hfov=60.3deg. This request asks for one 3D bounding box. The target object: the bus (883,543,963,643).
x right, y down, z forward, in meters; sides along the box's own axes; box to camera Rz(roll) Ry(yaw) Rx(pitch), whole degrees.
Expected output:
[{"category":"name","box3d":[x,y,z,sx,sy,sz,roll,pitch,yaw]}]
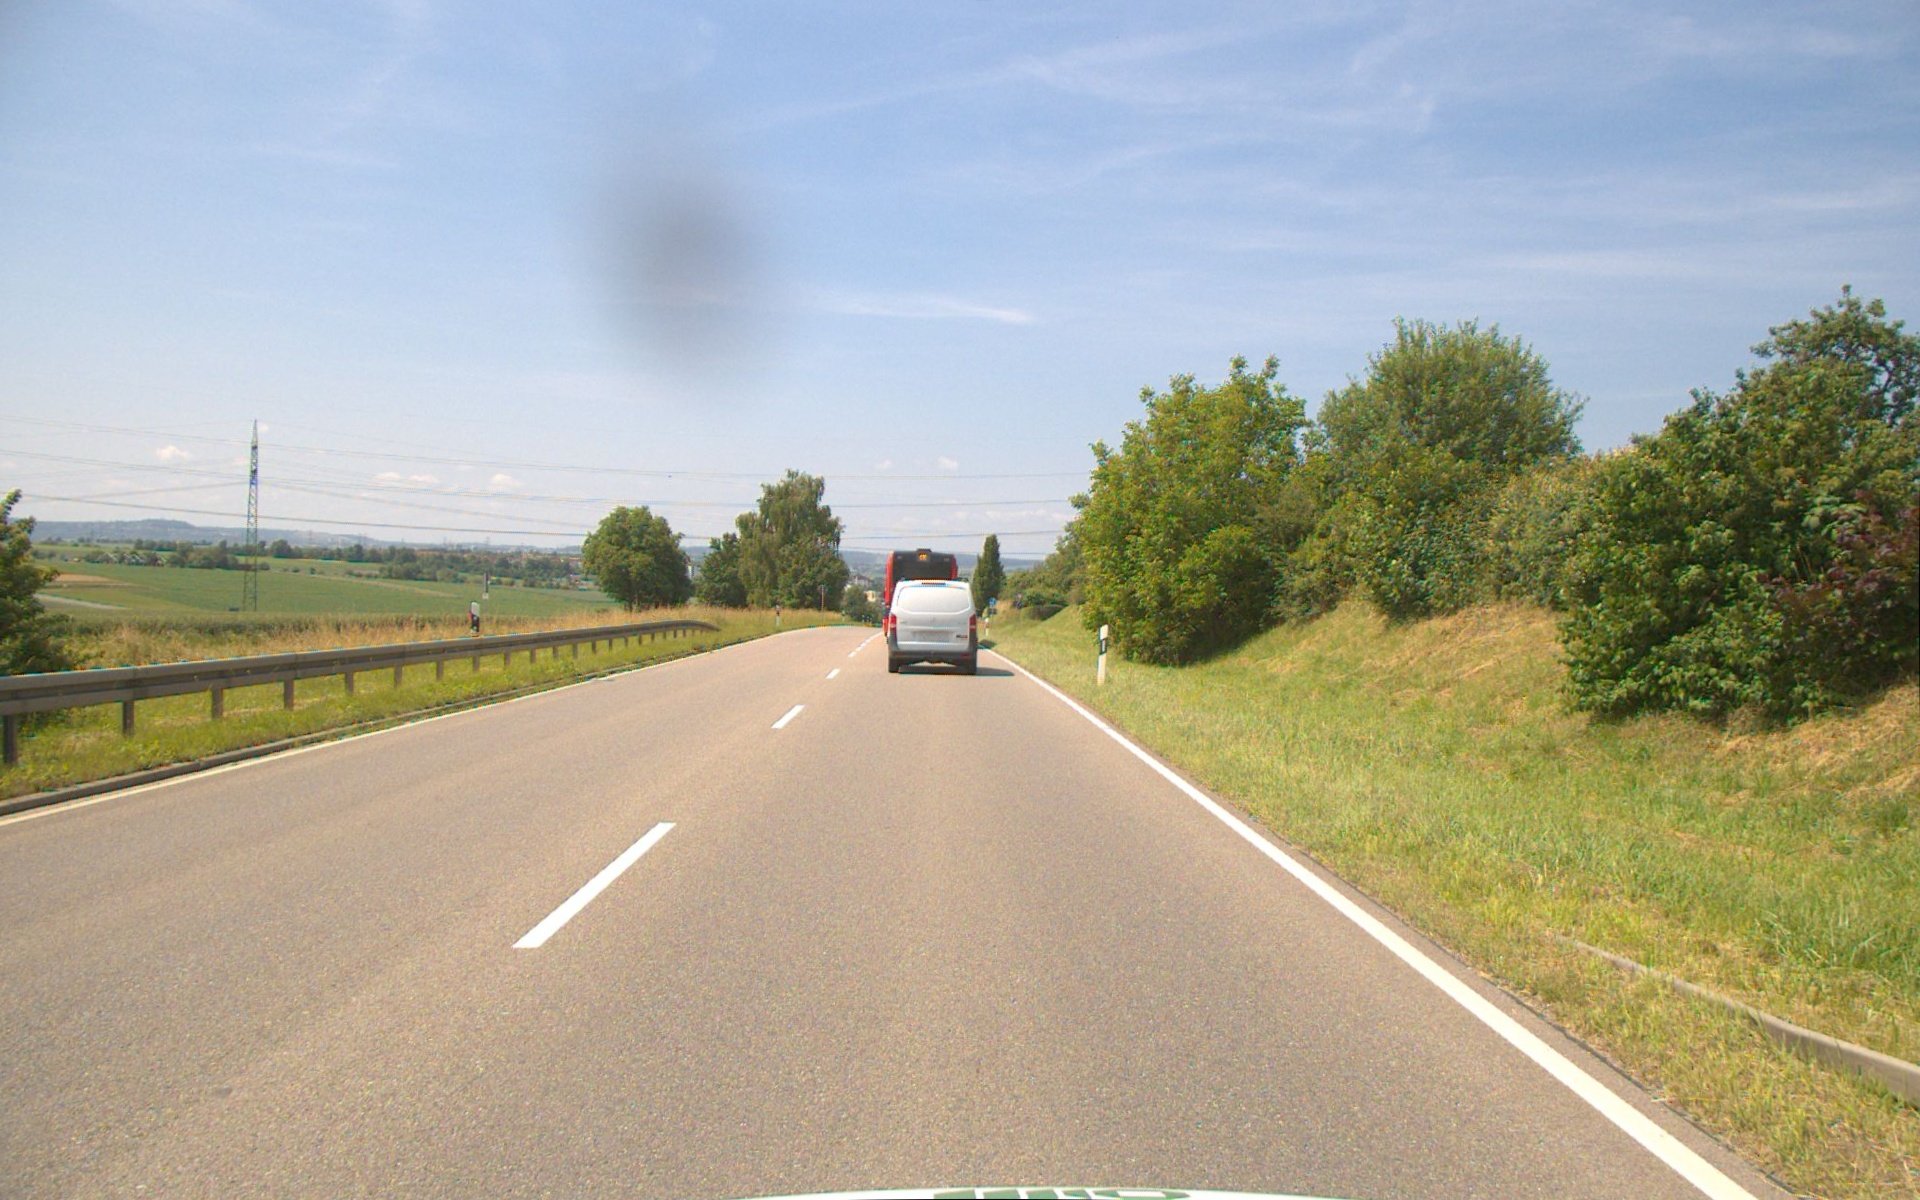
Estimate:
[{"category":"bus","box3d":[-1.518,-0.343,63.167,2.692,3.412,13.216,0,1,-2]}]

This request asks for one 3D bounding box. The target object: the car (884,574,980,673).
[{"category":"car","box3d":[-0.577,0.447,35.225,1.884,1.922,4.000,1,1,-1]}]

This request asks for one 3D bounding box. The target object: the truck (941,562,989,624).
[{"category":"truck","box3d":[0.297,-0.423,129.280,3.417,4.501,14.899,1,-1,-1]}]
